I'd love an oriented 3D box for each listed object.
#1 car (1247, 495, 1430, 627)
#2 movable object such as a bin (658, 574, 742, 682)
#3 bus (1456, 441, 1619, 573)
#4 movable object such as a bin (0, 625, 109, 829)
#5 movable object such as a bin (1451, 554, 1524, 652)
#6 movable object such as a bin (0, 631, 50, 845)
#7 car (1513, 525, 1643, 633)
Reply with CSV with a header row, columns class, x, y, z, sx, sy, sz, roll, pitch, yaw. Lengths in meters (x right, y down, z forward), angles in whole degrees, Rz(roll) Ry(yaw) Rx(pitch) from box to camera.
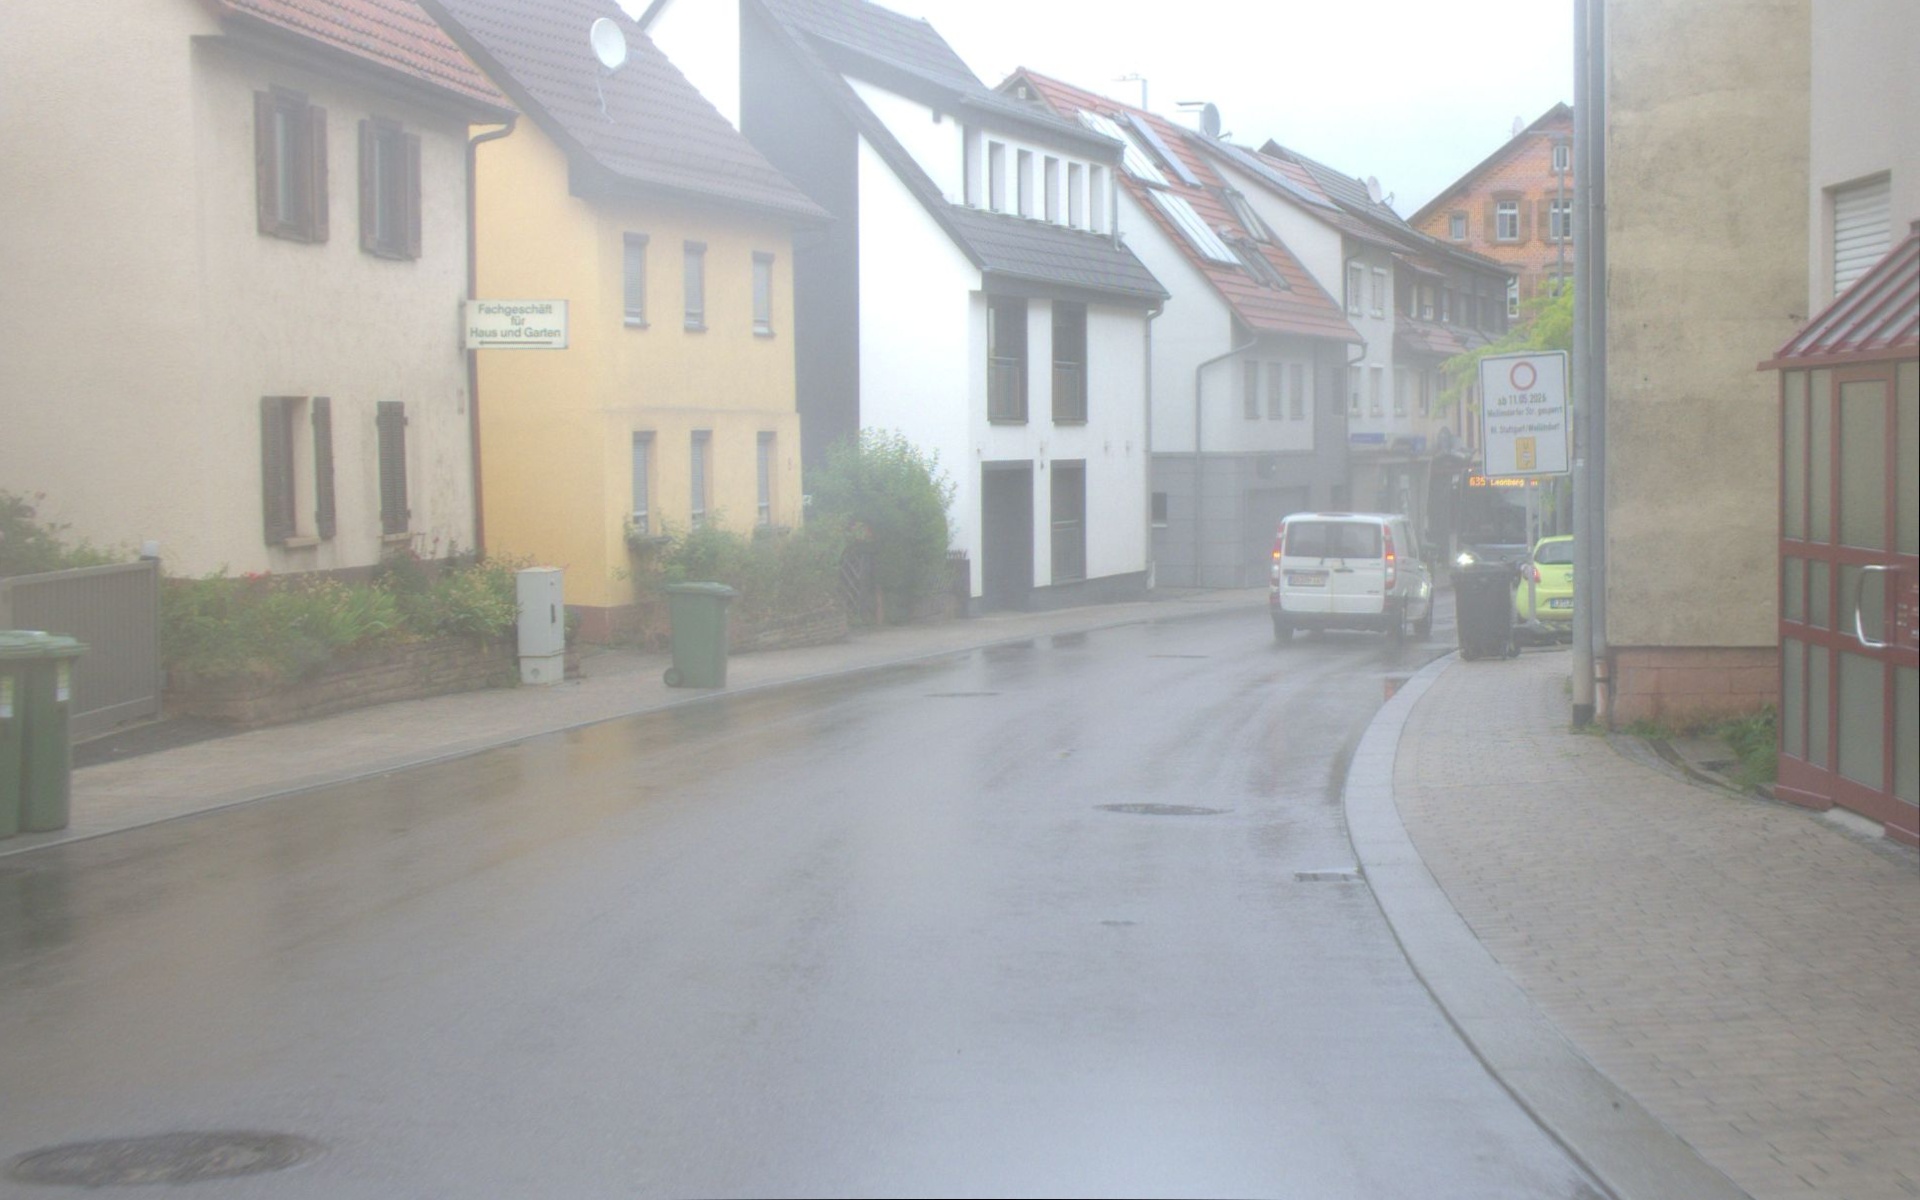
class,x,y,z,sx,sy,sz,roll,pitch,yaw
car,5.615,-0.578,50.535,2.196,1.845,4.302,0,1,13
movable object such as a bin,-2.652,0.276,35.140,0.660,1.052,0.763,3,2,8
bus,15.208,-2.519,89.981,2.742,3.119,9.226,1,4,19
movable object such as a bin,-5.026,0.672,18.468,0.681,1.042,0.661,1,1,7
movable object such as a bin,6.463,0.022,42.063,0.767,1.169,1.540,1,1,13
movable object such as a bin,-5.167,0.699,17.747,0.681,1.063,0.694,1,1,7
car,9.198,-0.336,51.014,1.604,1.479,3.299,-2,1,15
